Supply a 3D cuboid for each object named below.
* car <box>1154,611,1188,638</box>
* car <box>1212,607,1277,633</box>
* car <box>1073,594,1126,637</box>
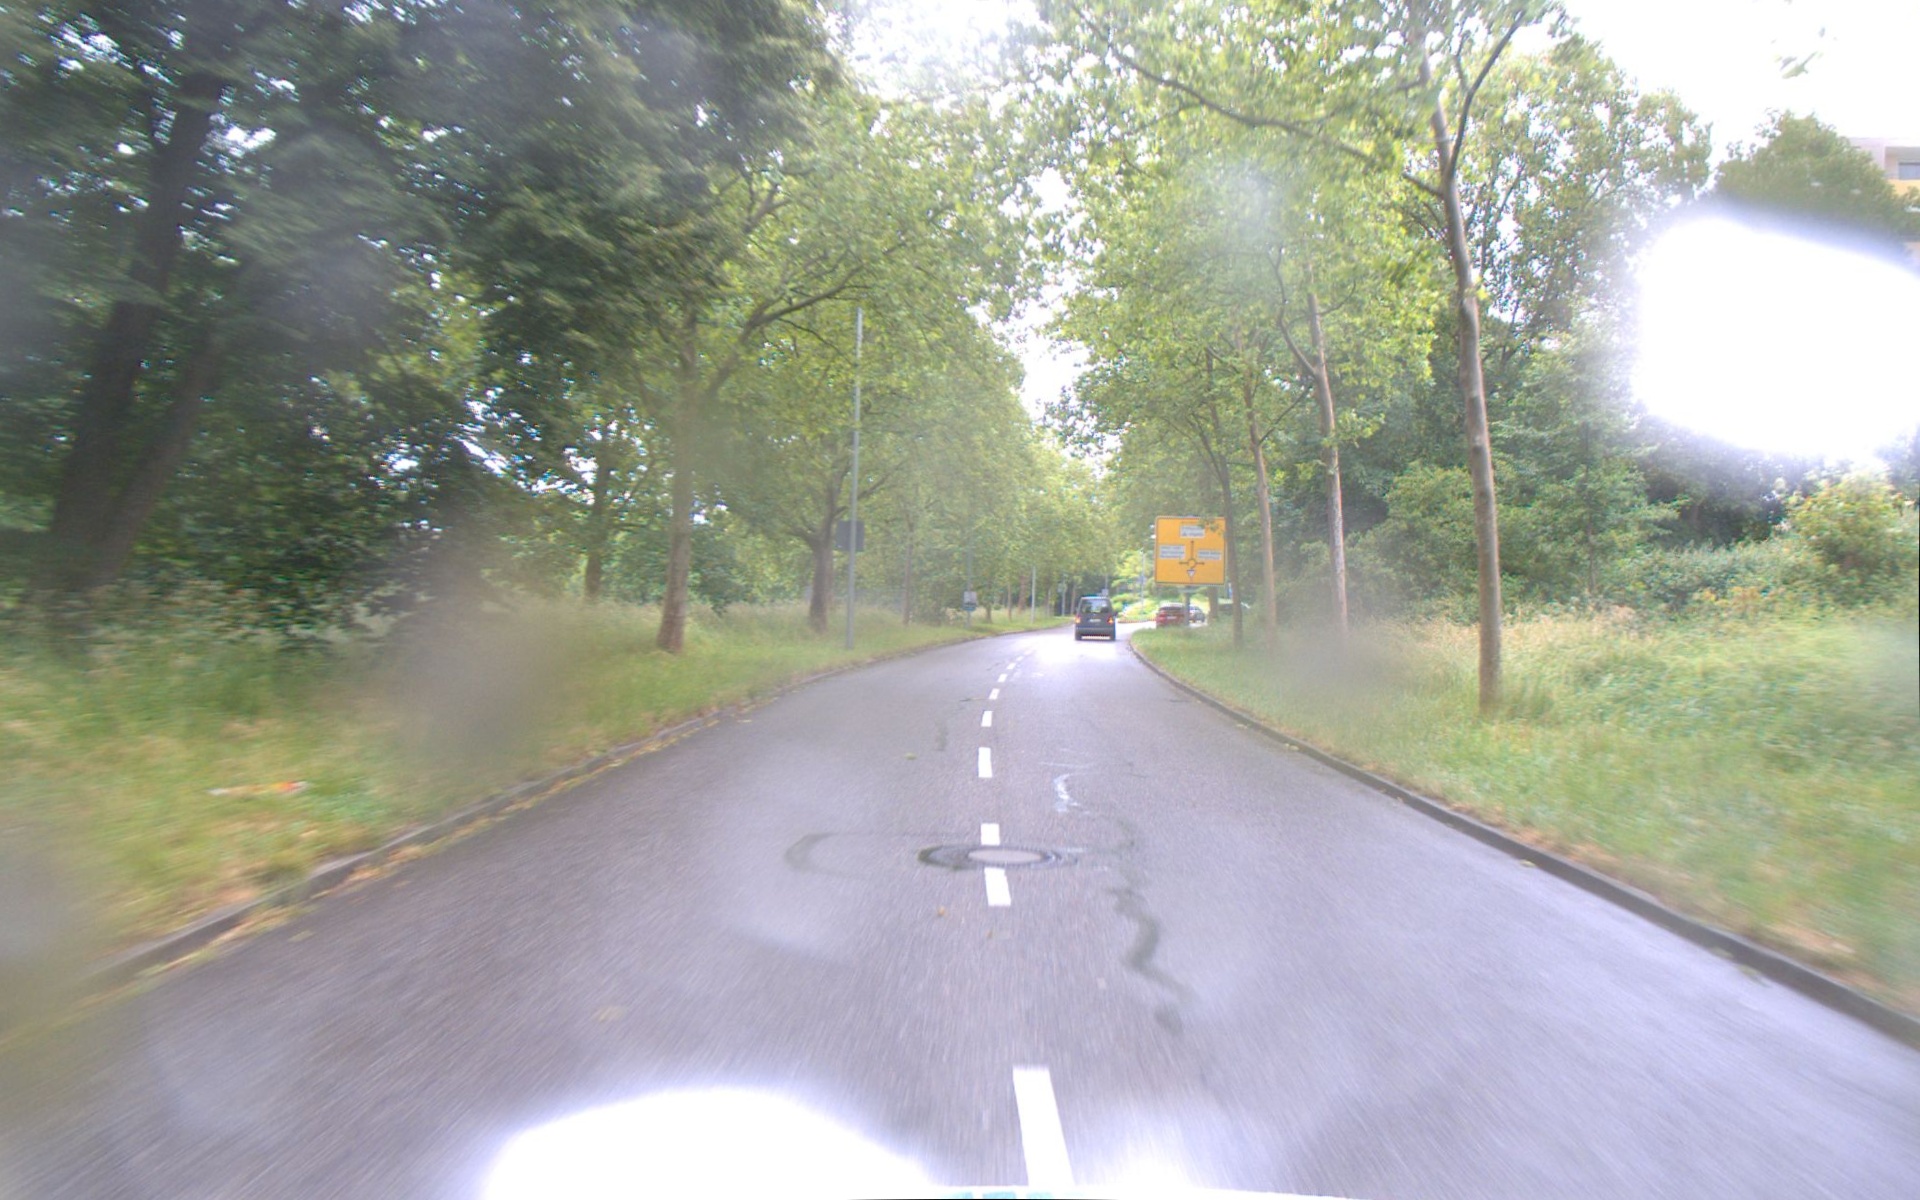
[{"bbox_3d":[11.379,1.316,89.045,1.759,1.396,3.747,0,-1,8],"label":"car"},{"bbox_3d":[19.782,1.393,114.861,4.375,1.709,1.769,1,1,10],"label":"car"},{"bbox_3d":[6.151,0.672,72.638,1.877,1.833,3.793,0,0,12],"label":"car"}]
